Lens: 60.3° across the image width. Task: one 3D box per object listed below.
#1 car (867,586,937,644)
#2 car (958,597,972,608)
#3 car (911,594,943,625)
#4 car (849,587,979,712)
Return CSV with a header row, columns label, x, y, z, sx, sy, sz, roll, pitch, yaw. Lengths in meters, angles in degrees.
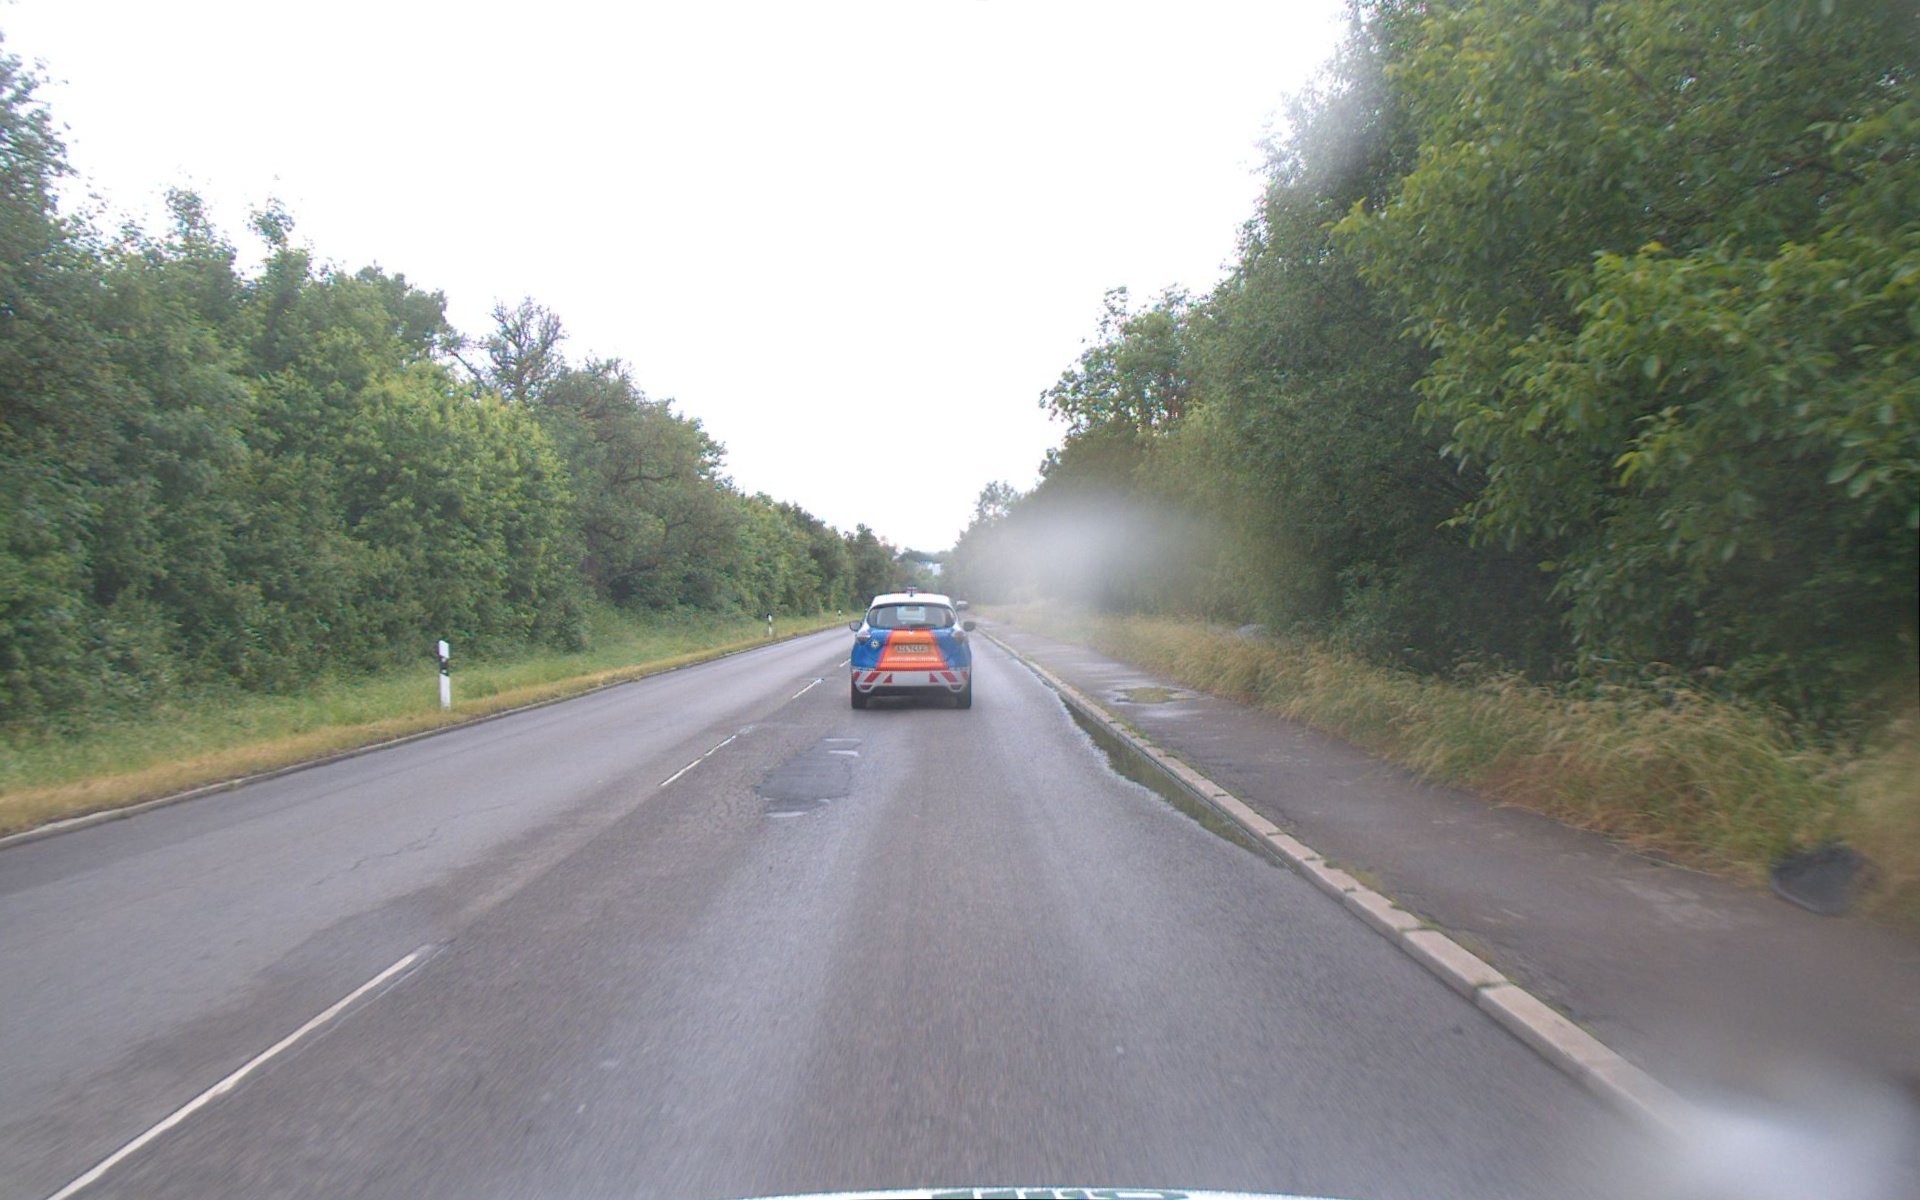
label,x,y,z,sx,sy,sz,roll,pitch,yaw
car,-1.407,0.353,41.290,1.566,1.309,3.476,-3,0,0
car,0.665,0.274,227.652,1.953,1.400,4.000,-3,0,0
car,-2.056,0.562,104.933,1.902,1.753,4.063,-3,1,0
car,-0.643,0.647,24.060,1.716,1.582,3.792,-1,1,-1
